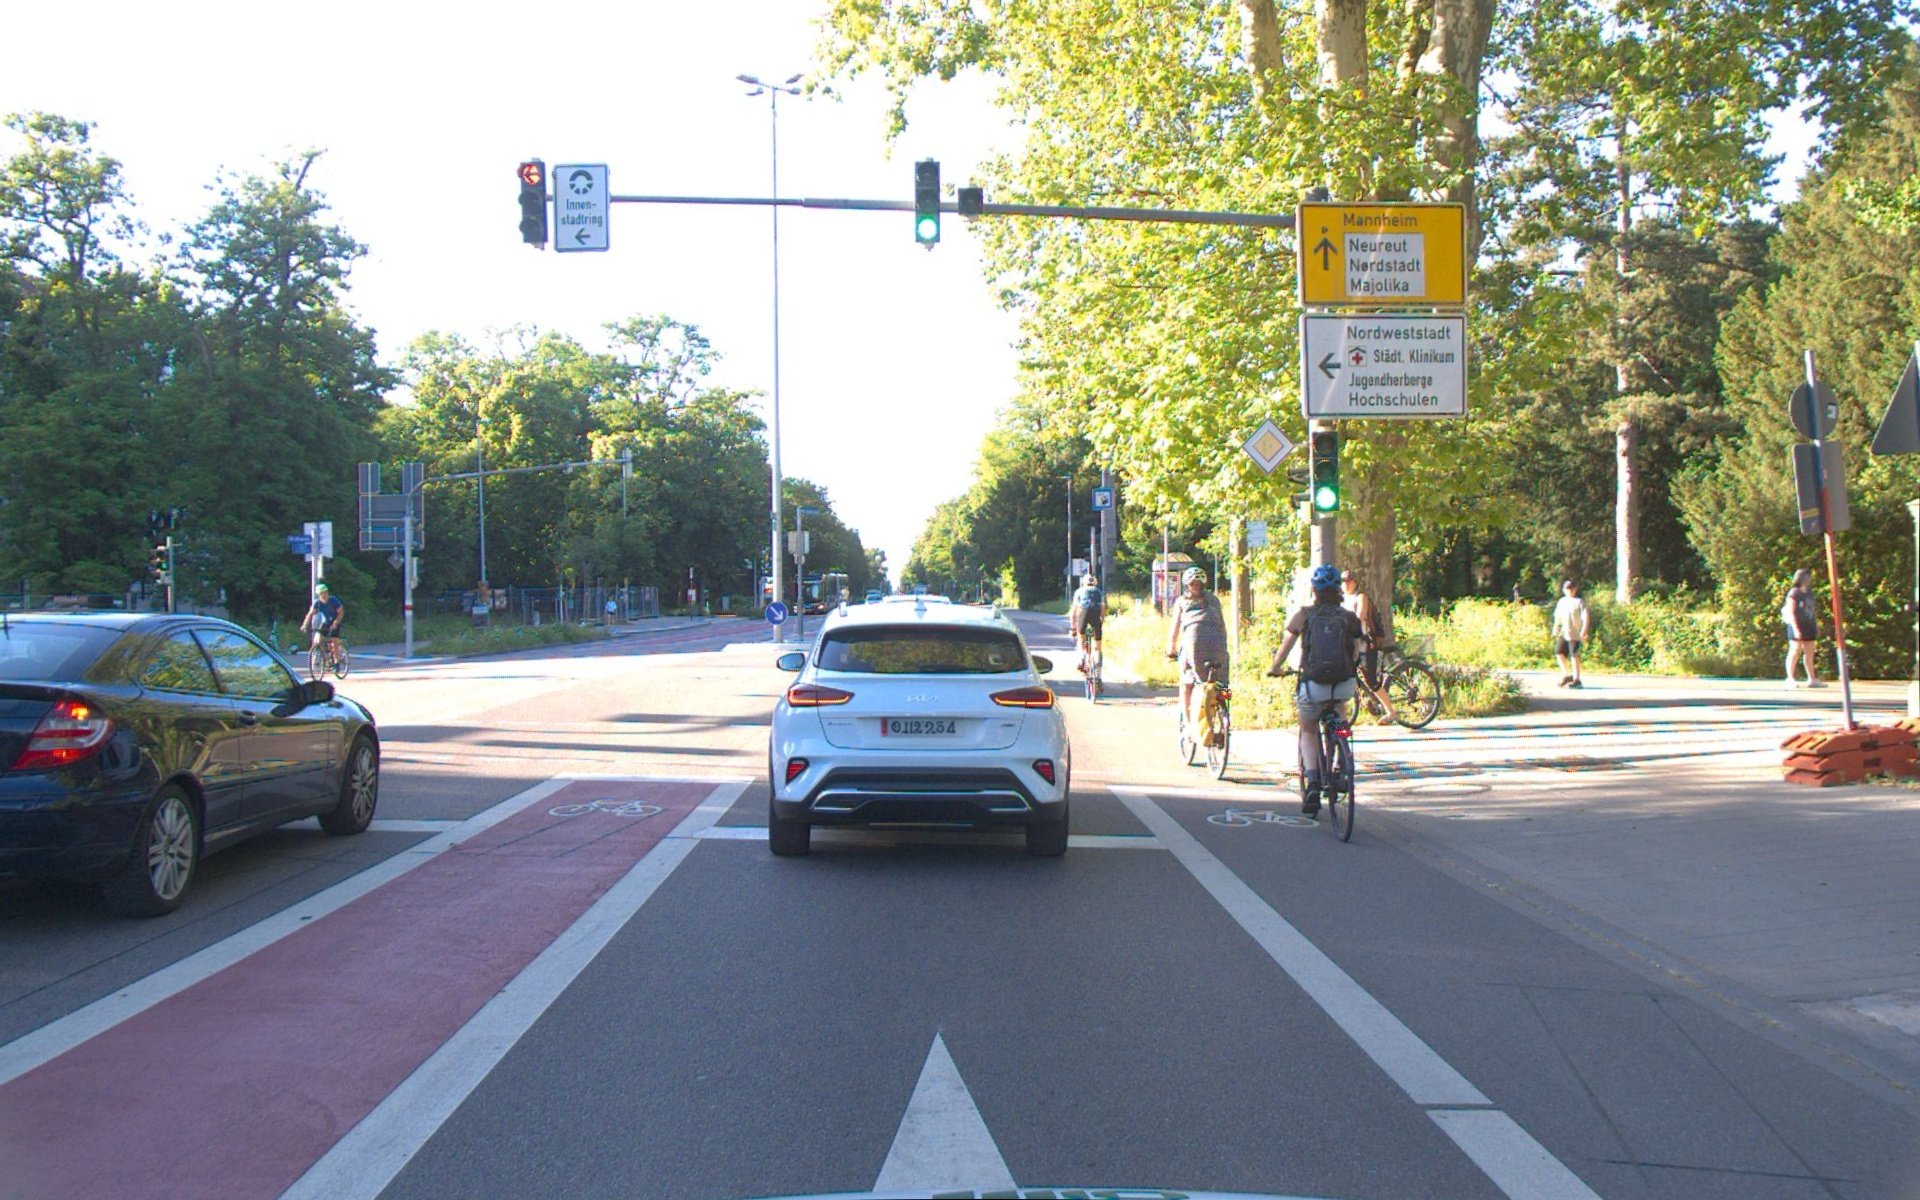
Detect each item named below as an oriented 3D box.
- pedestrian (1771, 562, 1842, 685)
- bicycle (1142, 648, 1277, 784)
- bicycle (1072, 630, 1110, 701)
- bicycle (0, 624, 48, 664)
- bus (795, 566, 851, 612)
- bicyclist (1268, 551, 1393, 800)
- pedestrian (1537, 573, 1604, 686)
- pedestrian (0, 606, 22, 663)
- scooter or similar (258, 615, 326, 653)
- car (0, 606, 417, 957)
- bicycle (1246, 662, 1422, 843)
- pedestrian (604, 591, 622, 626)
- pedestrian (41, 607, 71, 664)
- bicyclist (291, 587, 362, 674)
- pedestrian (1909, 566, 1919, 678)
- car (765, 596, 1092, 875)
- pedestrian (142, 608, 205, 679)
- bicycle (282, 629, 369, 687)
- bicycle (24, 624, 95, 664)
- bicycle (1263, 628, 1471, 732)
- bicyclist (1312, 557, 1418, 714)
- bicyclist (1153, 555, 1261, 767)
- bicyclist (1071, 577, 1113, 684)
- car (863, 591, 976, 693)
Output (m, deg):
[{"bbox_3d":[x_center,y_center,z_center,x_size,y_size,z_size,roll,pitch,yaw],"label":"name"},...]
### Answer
[{"bbox_3d":[12.082,0.328,23.624,0.675,1.729,0.644,0,-1,-1],"label":"pedestrian"},{"bbox_3d":[2.213,1.001,15.012,0.742,1.031,2.568,1,0,-2],"label":"bicycle"},{"bbox_3d":[1.870,0.920,23.650,0.393,0.973,1.550,0,0,-1],"label":"bicycle"},{"bbox_3d":[-27.838,1.286,48.563,1.826,1.168,0.442,0,-1,-8],"label":"bicycle"},{"bbox_3d":[-11.934,-0.937,145.509,3.664,3.737,13.241,-1,0,1],"label":"bus"},{"bbox_3d":[2.501,0.496,11.218,0.652,1.630,0.720,1,0,-2],"label":"bicyclist"},{"bbox_3d":[8.616,0.409,23.337,0.802,1.544,0.915,0,-1,26],"label":"pedestrian"},{"bbox_3d":[-28.064,1.018,48.716,0.617,1.671,0.444,-1,0,-10],"label":"pedestrian"},{"bbox_3d":[-20.580,1.034,50.966,0.697,1.144,1.916,0,-1,32],"label":"scooter or similar"},{"bbox_3d":[-4.505,0.787,9.059,1.670,1.429,4.264,-1,0,-1],"label":"car"},{"bbox_3d":[2.495,0.983,11.275,0.655,1.027,2.080,1,0,-2],"label":"bicycle"},{"bbox_3d":[-17.998,0.460,85.793,0.769,1.817,0.751,0,-1,0],"label":"pedestrian"},{"bbox_3d":[-26.261,1.023,48.044,0.617,1.608,0.444,-1,0,-10],"label":"pedestrian"},{"bbox_3d":[-12.276,0.584,32.077,0.857,1.636,1.188,-2,0,1],"label":"bicyclist"},{"bbox_3d":[15.012,0.336,25.172,0.808,1.711,0.694,0,-1,13],"label":"pedestrian"},{"bbox_3d":[-0.235,0.736,11.029,1.784,1.506,3.934,0,0,-2],"label":"car"},{"bbox_3d":[-18.868,1.034,39.681,1.067,1.631,0.999,-1,0,-7],"label":"pedestrian"},{"bbox_3d":[-12.260,1.095,32.043,0.650,1.006,2.504,-2,0,1],"label":"bicycle"},{"bbox_3d":[-26.330,1.276,48.350,1.826,1.168,0.290,0,-1,-8],"label":"bicycle"},{"bbox_3d":[4.402,0.850,17.918,2.057,0.993,0.748,-2,0,-14],"label":"bicycle"},{"bbox_3d":[4.375,0.374,17.913,0.832,1.642,0.733,-2,0,-13],"label":"bicyclist"},{"bbox_3d":[2.220,0.530,14.991,0.738,1.827,1.164,1,0,-2],"label":"bicyclist"},{"bbox_3d":[1.891,0.432,23.755,0.543,1.504,0.716,0,-1,-1],"label":"bicyclist"},{"bbox_3d":[-0.682,0.633,26.953,1.694,1.509,3.515,-1,0,-2],"label":"car"}]
